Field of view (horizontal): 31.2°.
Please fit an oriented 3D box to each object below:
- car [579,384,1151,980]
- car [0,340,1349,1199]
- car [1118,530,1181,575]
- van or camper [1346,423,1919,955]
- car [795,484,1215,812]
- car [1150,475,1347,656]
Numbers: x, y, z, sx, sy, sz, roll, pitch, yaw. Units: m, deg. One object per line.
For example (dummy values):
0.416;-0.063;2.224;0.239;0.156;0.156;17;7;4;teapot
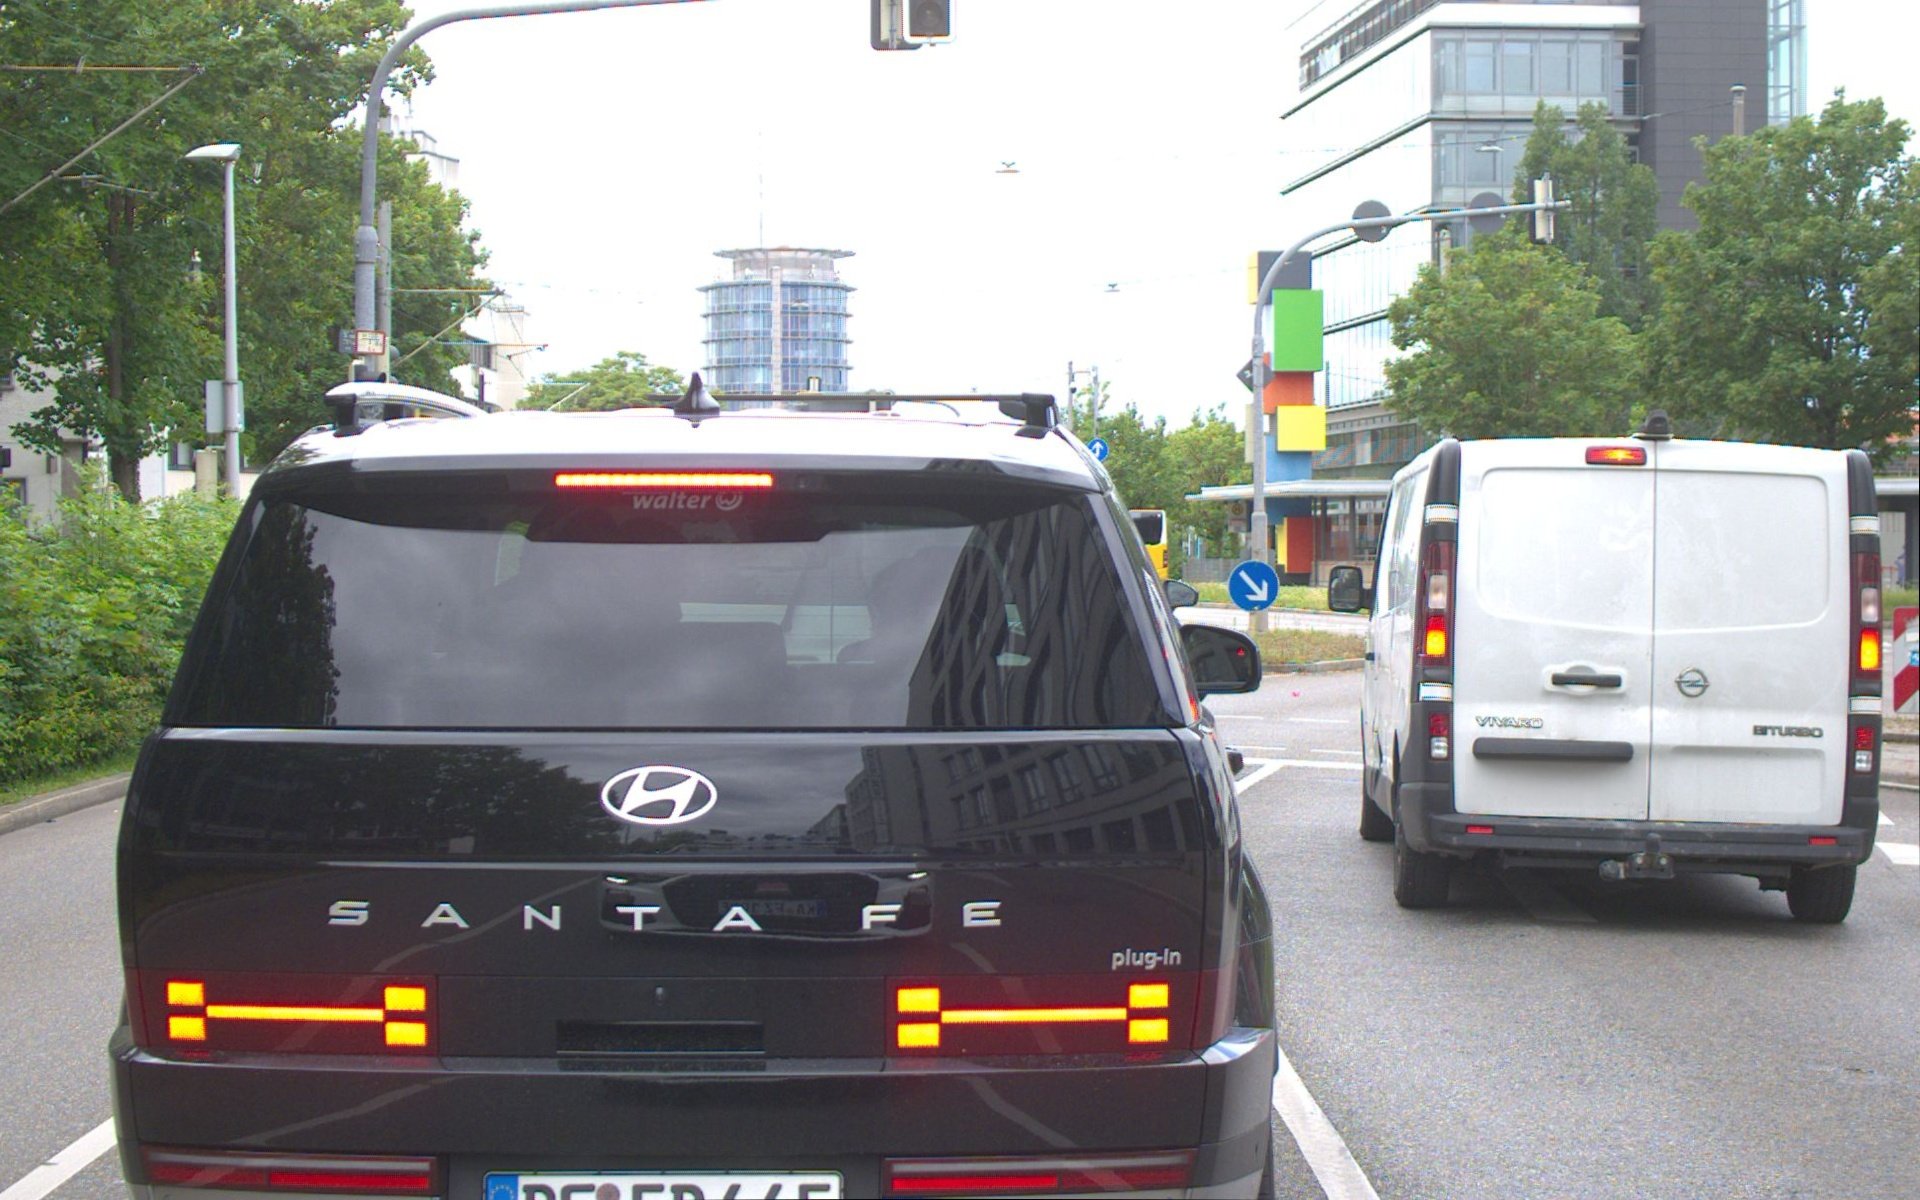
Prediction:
-0.342;0.239;13.491;1.915;1.996;3.880;0;1;-1;car
-0.417;0.485;6.677;1.869;1.754;3.880;0;1;-1;car
7.253;-1.811;131.815;1.993;1.678;4.000;0;0;-3;car
2.854;0.294;15.429;1.994;2.007;4.652;1;1;4;van or camper
0.385;0.230;20.274;1.776;1.711;4.336;1;0;10;car
3.334;-0.405;40.366;1.993;2.007;4.000;1;0;1;car
